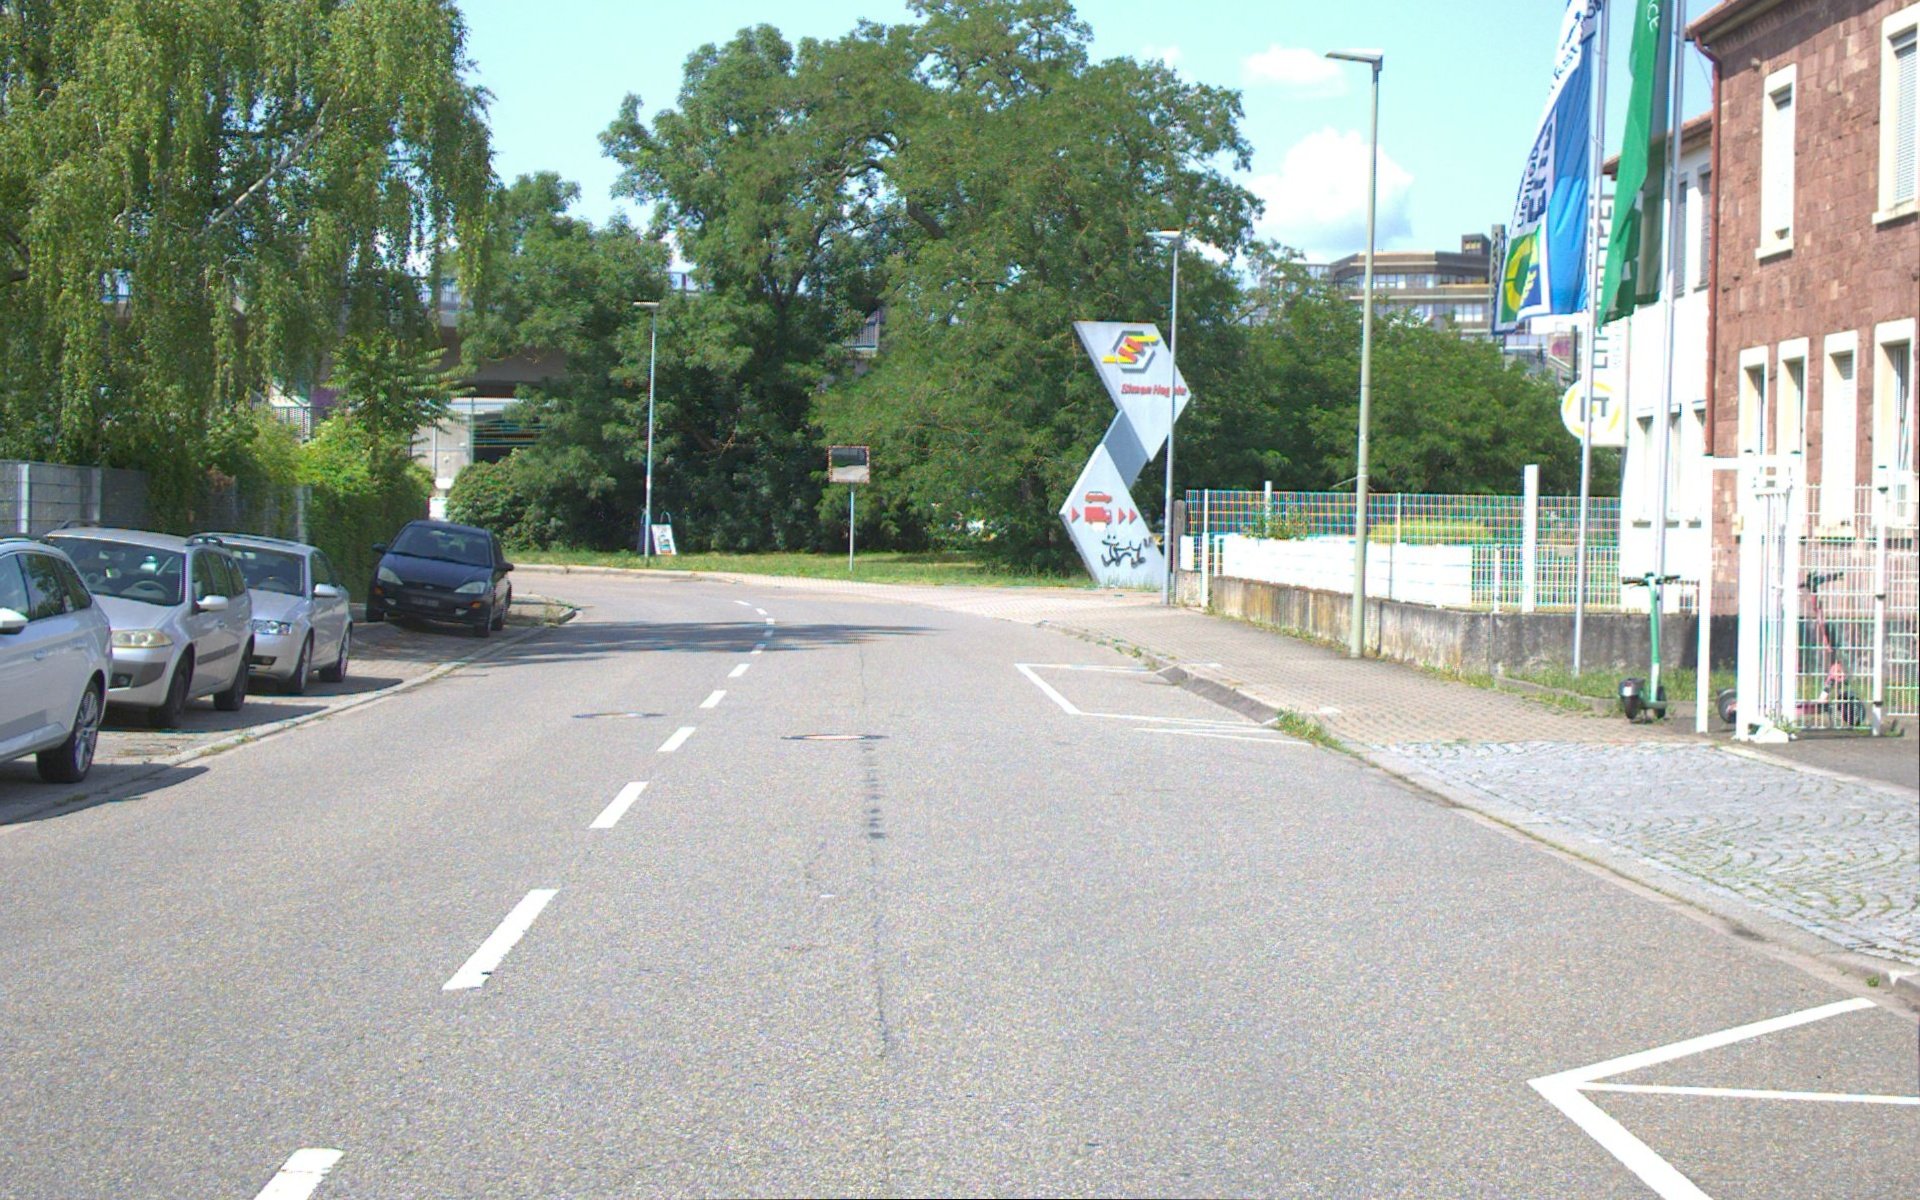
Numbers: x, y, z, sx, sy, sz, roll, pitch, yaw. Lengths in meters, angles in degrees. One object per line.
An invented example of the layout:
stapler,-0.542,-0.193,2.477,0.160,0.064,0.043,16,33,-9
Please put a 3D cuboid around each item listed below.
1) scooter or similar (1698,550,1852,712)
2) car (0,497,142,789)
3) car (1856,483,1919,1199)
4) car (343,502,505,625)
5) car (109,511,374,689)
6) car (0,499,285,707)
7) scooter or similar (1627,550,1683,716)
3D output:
scooter or similar,6.368,0.237,26.874,1.147,1.241,0.259,1,1,17
car,-6.098,0.197,19.779,1.700,1.589,4.788,1,2,-1
car,3.050,0.636,5.712,1.825,1.659,4.556,1,2,-1
car,-7.485,-0.520,48.330,1.682,1.507,4.158,5,1,-3
car,-7.029,-0.058,34.061,1.724,1.472,4.632,5,1,-3
car,-6.810,-0.043,28.059,1.794,1.522,4.660,1,2,-2
scooter or similar,5.559,0.257,27.503,0.333,1.307,0.366,1,1,-2
